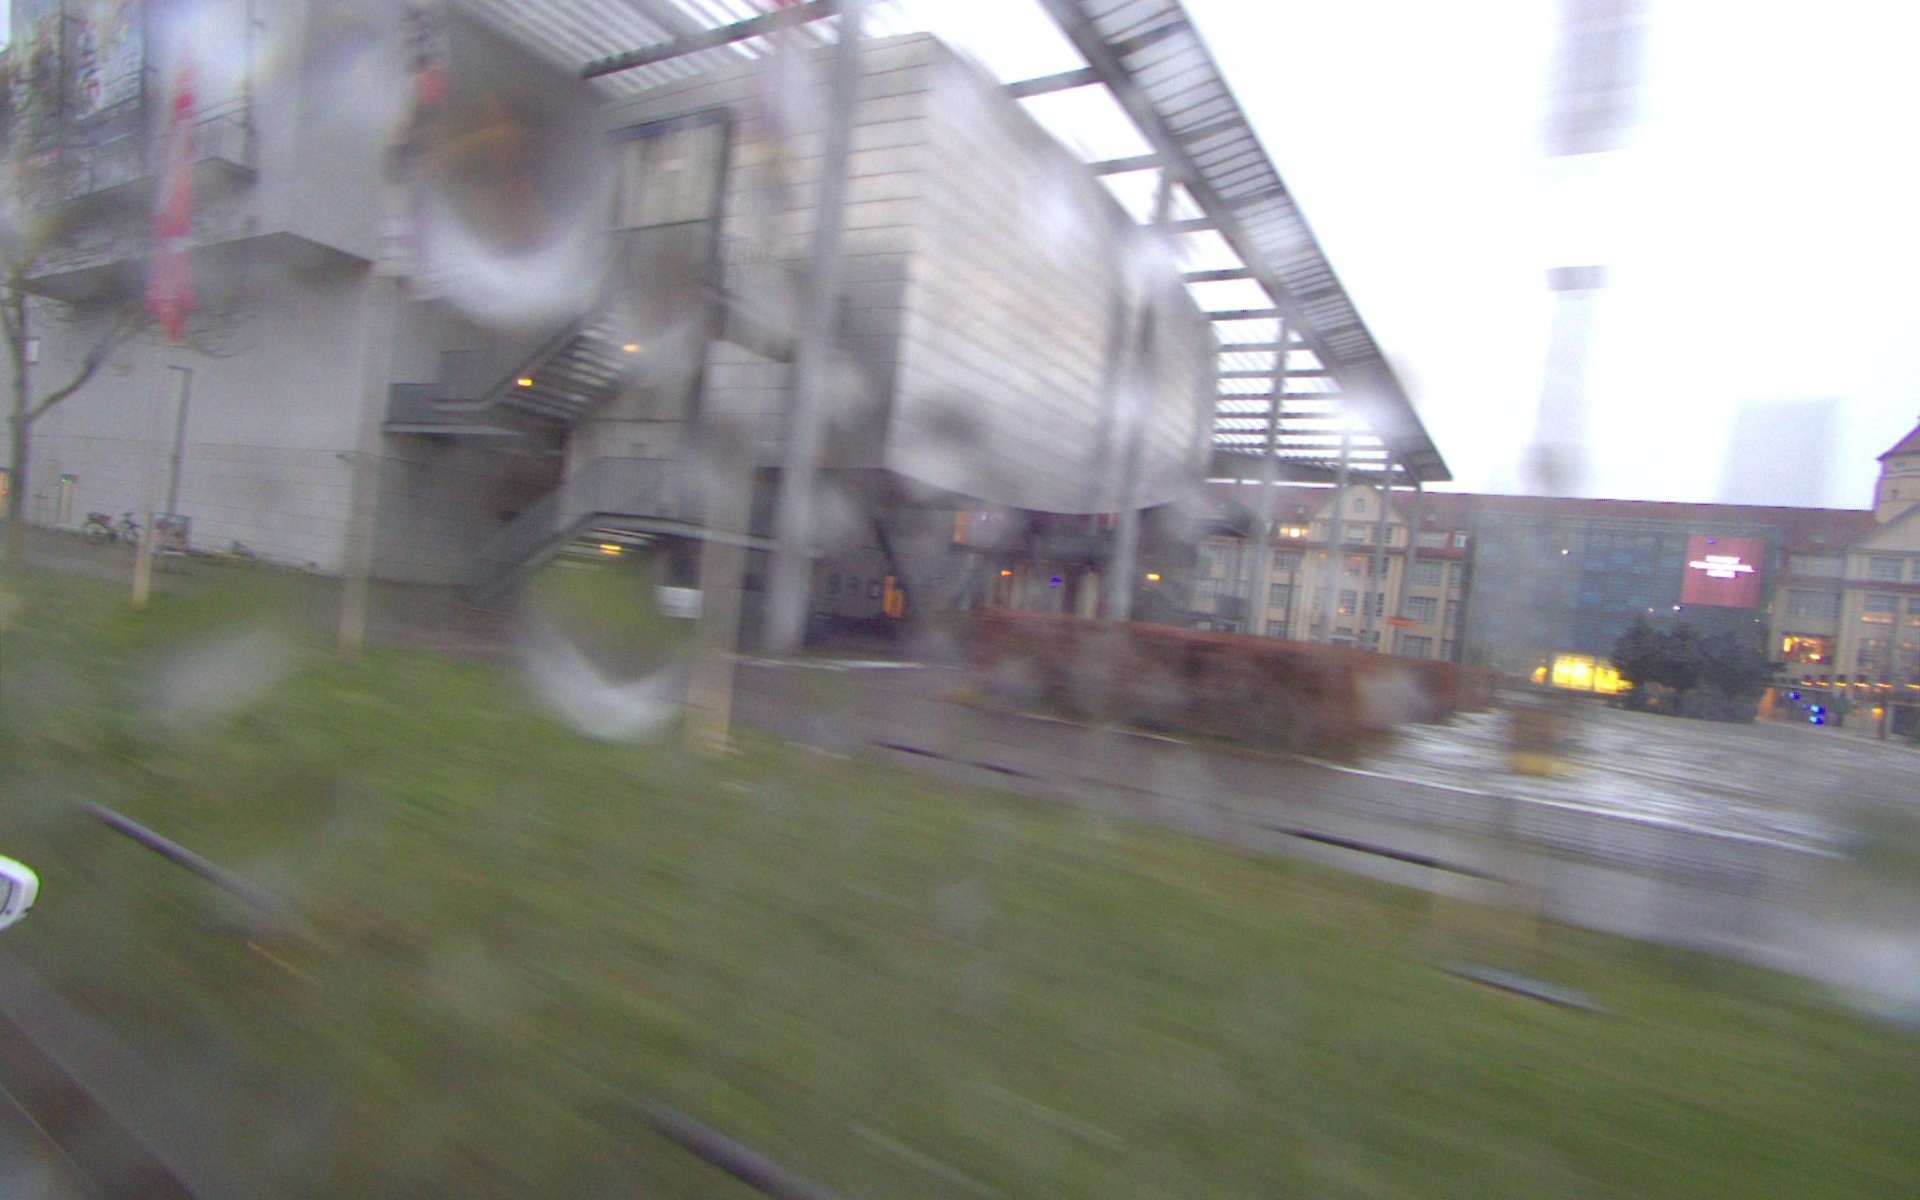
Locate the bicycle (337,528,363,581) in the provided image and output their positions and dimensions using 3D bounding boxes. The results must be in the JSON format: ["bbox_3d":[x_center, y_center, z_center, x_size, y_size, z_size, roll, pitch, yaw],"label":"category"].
[{"bbox_3d":[-15.772,-1.177,26.013,0.407,1.299,1.730,8,-1,-31],"label":"bicycle"}]

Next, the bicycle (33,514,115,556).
[{"bbox_3d":[-27.180,-1.983,30.905,0.390,1.065,1.811,7,1,30],"label":"bicycle"}]
